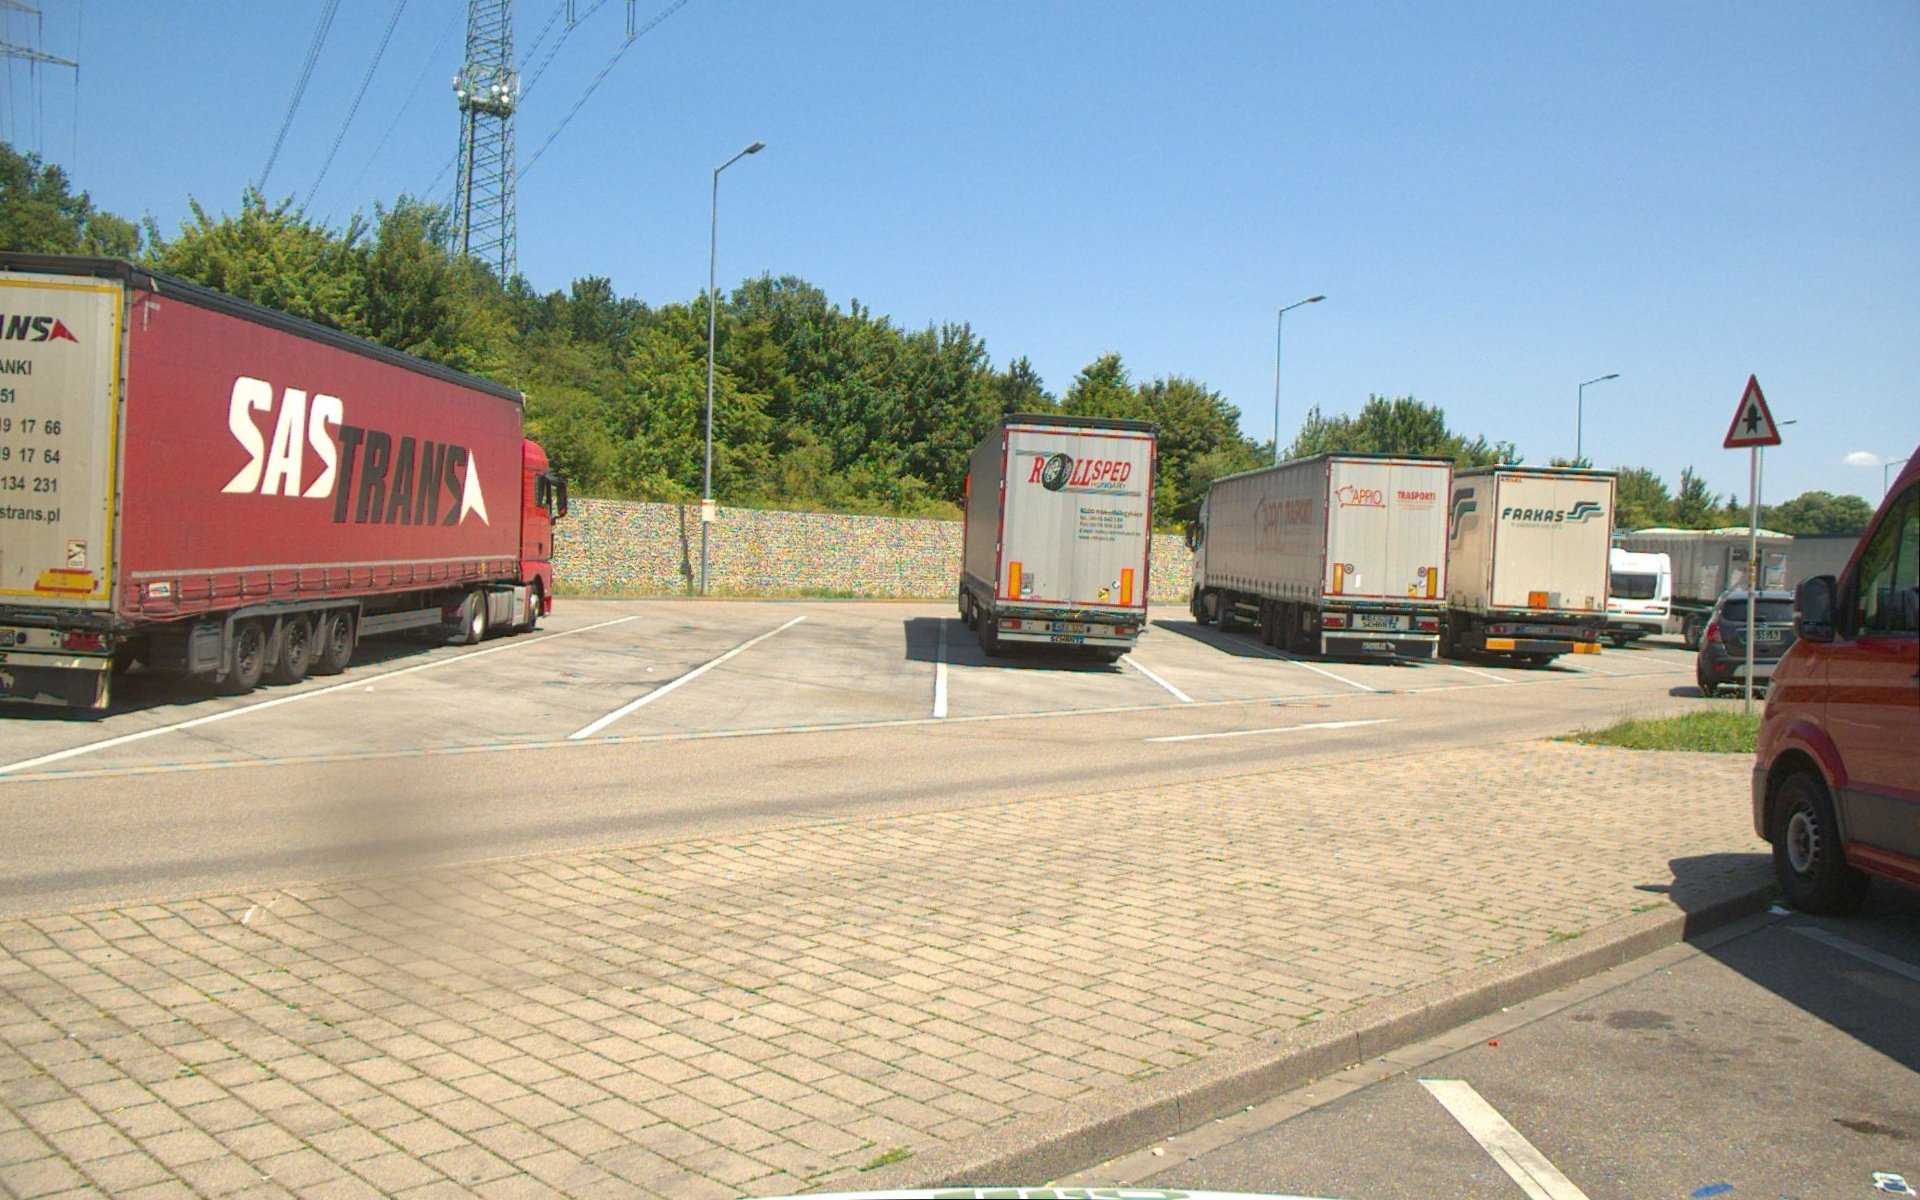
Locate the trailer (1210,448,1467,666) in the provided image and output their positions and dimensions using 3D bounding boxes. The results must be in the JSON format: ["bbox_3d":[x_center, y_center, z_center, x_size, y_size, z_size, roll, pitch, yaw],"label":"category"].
[{"bbox_3d":[8.239,-1.085,38.099,2.808,4.107,12.438,2,2,-1],"label":"trailer"}]

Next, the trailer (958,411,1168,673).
[{"bbox_3d":[1.647,-1.236,33.664,2.809,4.107,14.238,2,2,-2],"label":"trailer"}]

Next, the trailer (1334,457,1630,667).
[{"bbox_3d":[11.815,-1.019,39.216,2.808,4.107,12.438,2,2,-1],"label":"trailer"}]

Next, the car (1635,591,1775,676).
[{"bbox_3d":[15.192,0.636,33.892,1.557,1.572,3.643,1,1,6],"label":"car"}]

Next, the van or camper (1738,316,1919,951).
[{"bbox_3d":[4.983,0.176,5.553,1.954,2.700,6.482,1,1,3],"label":"van or camper"}]

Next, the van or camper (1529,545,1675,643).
[{"bbox_3d":[18.260,-0.216,47.341,2.061,2.606,5.372,1,1,0],"label":"van or camper"}]

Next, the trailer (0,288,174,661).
[{"bbox_3d":[-12.554,-1.405,17.156,2.756,4.341,12.940,2,2,-1],"label":"trailer"}]

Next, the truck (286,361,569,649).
[{"bbox_3d":[-8.704,-1.527,27.872,2.641,4.184,6.239,2,2,0],"label":"truck"}]

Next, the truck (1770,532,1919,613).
[{"bbox_3d":[34.695,-1.059,63.630,2.082,2.869,9.777,1,1,-1],"label":"truck"}]

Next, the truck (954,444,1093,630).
[{"bbox_3d":[1.417,-1.563,40.744,2.809,4.107,7.026,2,2,-2],"label":"truck"}]

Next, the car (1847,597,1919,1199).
[{"bbox_3d":[2.533,0.797,1.106,1.584,1.509,3.762,1,1,-6],"label":"car"}]

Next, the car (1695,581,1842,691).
[{"bbox_3d":[12.892,0.504,26.572,1.804,1.589,3.949,1,1,22],"label":"car"}]

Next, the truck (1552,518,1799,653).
[{"bbox_3d":[21.741,-0.642,51.238,2.437,3.630,11.423,2,2,-1],"label":"truck"}]

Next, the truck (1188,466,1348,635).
[{"bbox_3d":[8.159,-1.381,44.729,2.808,4.107,6.956,2,2,-1],"label":"truck"}]

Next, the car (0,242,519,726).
[{"bbox_3d":[-8.683,-1.279,20.954,2.641,4.184,12.935,2,2,0],"label":"car"}]
